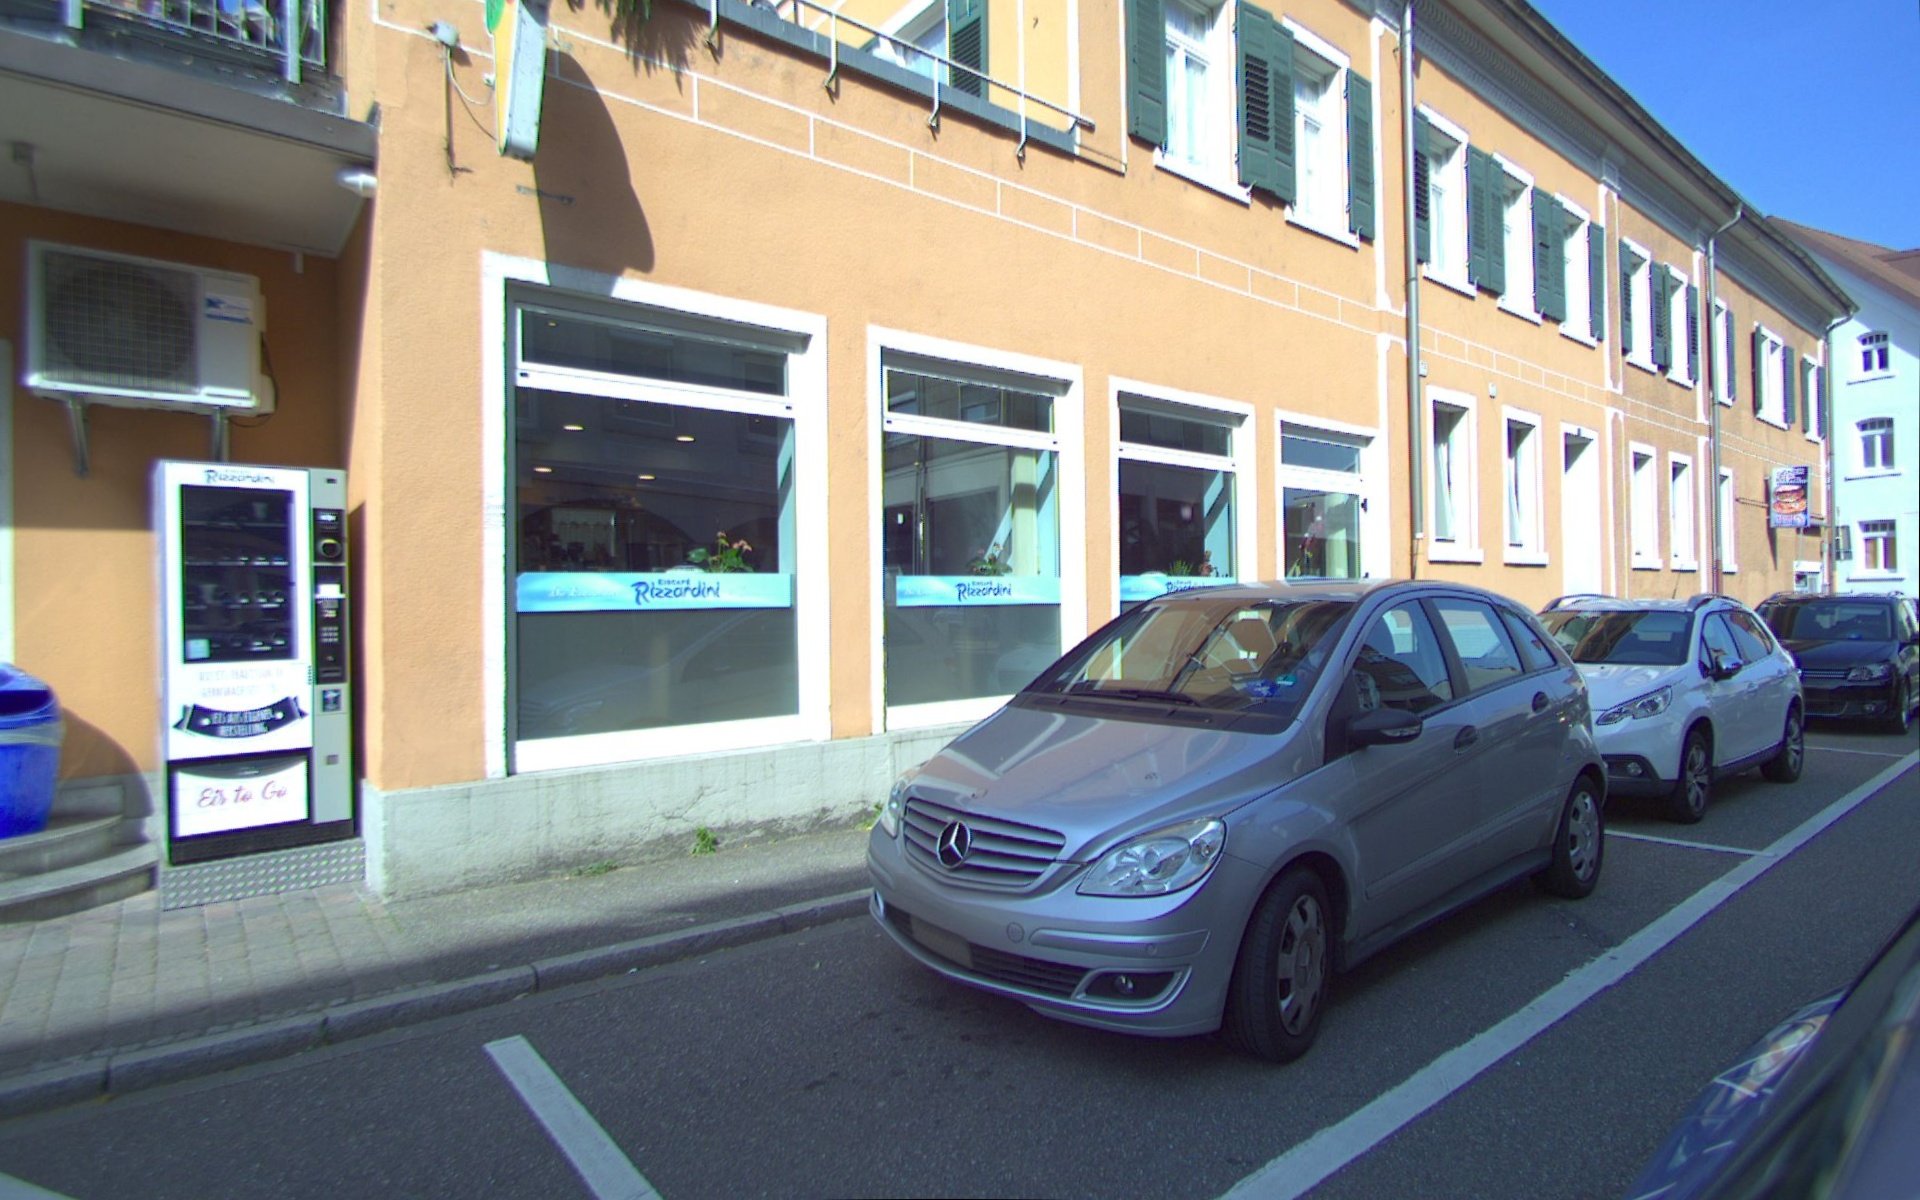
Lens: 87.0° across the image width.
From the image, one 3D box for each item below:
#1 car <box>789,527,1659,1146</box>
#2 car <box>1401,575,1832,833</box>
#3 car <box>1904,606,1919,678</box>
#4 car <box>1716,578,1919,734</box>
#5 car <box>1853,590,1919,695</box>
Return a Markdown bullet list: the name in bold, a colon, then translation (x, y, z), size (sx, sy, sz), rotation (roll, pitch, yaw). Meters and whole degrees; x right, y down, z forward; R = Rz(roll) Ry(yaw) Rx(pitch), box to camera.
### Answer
- **car**: translation (1.596, 0.624, 4.806), size (4.514, 1.617, 1.748), rotation (0, -1, -41)
- **car**: translation (5.396, 0.644, 8.136), size (4.029, 1.579, 1.682), rotation (0, -1, -38)
- **car**: translation (19.855, 0.779, 19.641), size (3.628, 1.336, 1.682), rotation (0, -1, -38)
- **car**: translation (11.207, 0.582, 12.748), size (4.173, 1.666, 1.683), rotation (0, 1, -38)
- **car**: translation (15.884, 0.630, 16.192), size (4.110, 1.559, 1.683), rotation (0, 1, -38)
